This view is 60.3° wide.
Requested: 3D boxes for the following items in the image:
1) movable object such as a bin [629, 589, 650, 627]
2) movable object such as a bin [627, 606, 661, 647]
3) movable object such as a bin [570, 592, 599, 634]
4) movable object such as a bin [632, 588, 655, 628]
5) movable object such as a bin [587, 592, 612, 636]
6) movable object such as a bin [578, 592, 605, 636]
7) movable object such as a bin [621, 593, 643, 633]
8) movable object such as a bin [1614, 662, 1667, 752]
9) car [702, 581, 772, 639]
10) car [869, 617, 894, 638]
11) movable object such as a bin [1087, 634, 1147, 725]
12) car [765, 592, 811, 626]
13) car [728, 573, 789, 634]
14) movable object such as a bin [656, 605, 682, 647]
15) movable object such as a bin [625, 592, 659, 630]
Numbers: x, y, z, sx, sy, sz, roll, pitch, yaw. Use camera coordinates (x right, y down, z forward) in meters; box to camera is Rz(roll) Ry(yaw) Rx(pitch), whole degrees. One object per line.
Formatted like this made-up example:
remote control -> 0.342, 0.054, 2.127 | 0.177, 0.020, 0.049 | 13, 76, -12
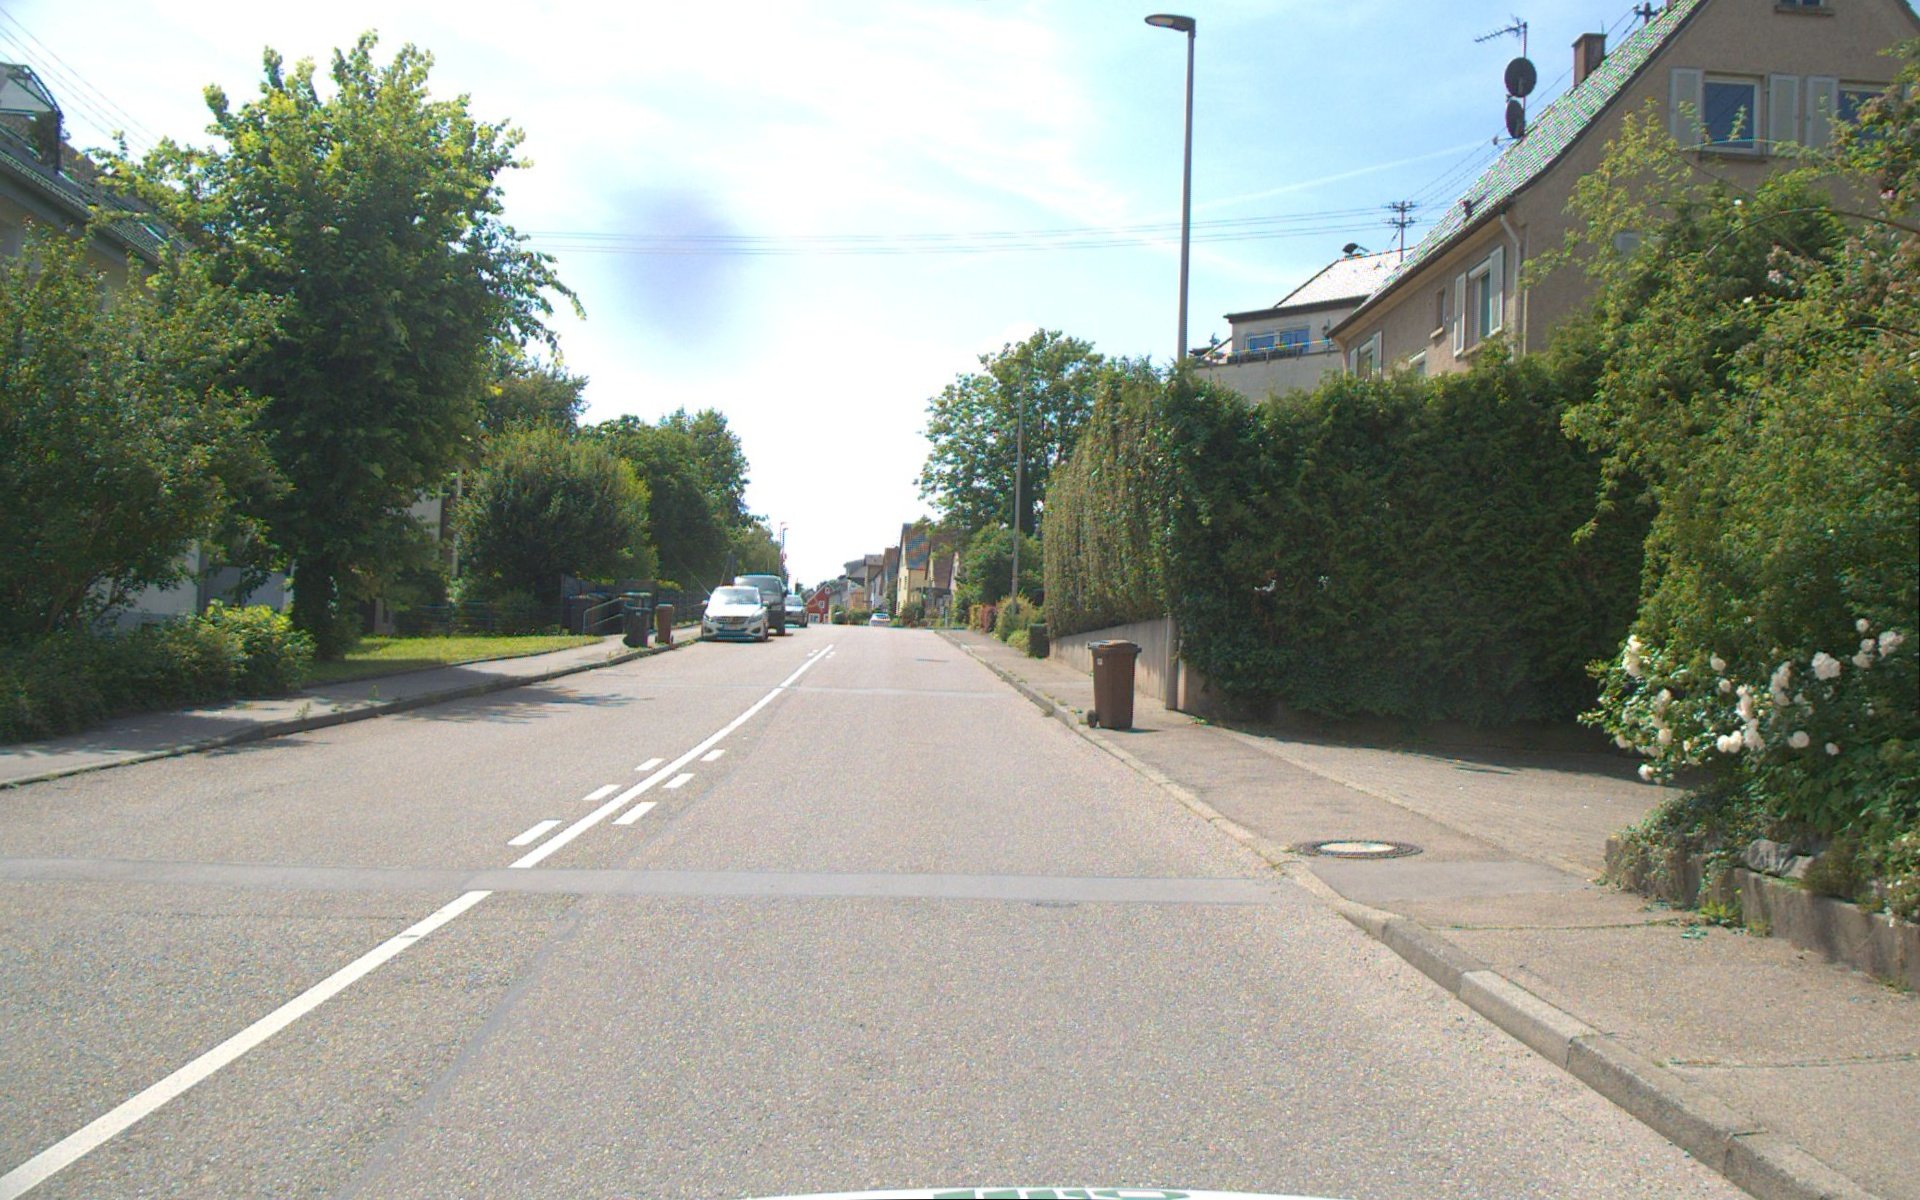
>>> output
movable object such as a bin -> -9.112, 0.224, 47.069 | 0.446, 1.062, 0.560 | 0, -1, 4
movable object such as a bin -> -7.306, 0.614, 38.261 | 0.606, 0.933, 0.686 | 1, 0, 4
movable object such as a bin -> -10.212, 0.355, 44.956 | 0.590, 1.115, 0.650 | 1, 0, 4
movable object such as a bin -> -9.140, 0.234, 47.747 | 0.486, 1.124, 0.710 | 0, -1, 4
movable object such as a bin -> -10.154, 0.392, 46.564 | 0.466, 1.198, 0.840 | 1, 0, 2
movable object such as a bin -> -10.193, 0.381, 45.765 | 0.535, 1.198, 0.674 | 1, 0, 2
movable object such as a bin -> -9.193, 0.362, 46.363 | 0.506, 1.123, 0.529 | 1, 0, -4
movable object such as a bin -> 7.857, 1.228, 19.102 | 0.378, 0.989, 0.473 | 2, 0, -3
car -> -6.525, 0.273, 48.674 | 1.775, 1.576, 4.239 | 2, 0, -5
car -> -6.374, 2.223, 133.576 | 1.954, 1.631, 3.997 | 1, 0, -4
movable object such as a bin -> 1.802, 0.905, 19.051 | 0.576, 0.995, 0.786 | 0, 0, -3
car -> -7.528, 0.403, 72.809 | 1.744, 1.419, 4.406 | 1, -1, -3
car -> -6.792, 0.106, 56.079 | 1.859, 1.954, 4.865 | 0, 0, -5
movable object such as a bin -> -7.214, 0.641, 40.954 | 0.495, 1.005, 0.563 | 1, 0, 4
movable object such as a bin -> -9.444, 0.324, 49.157 | 0.882, 1.088, 0.695 | 1, 0, -3
